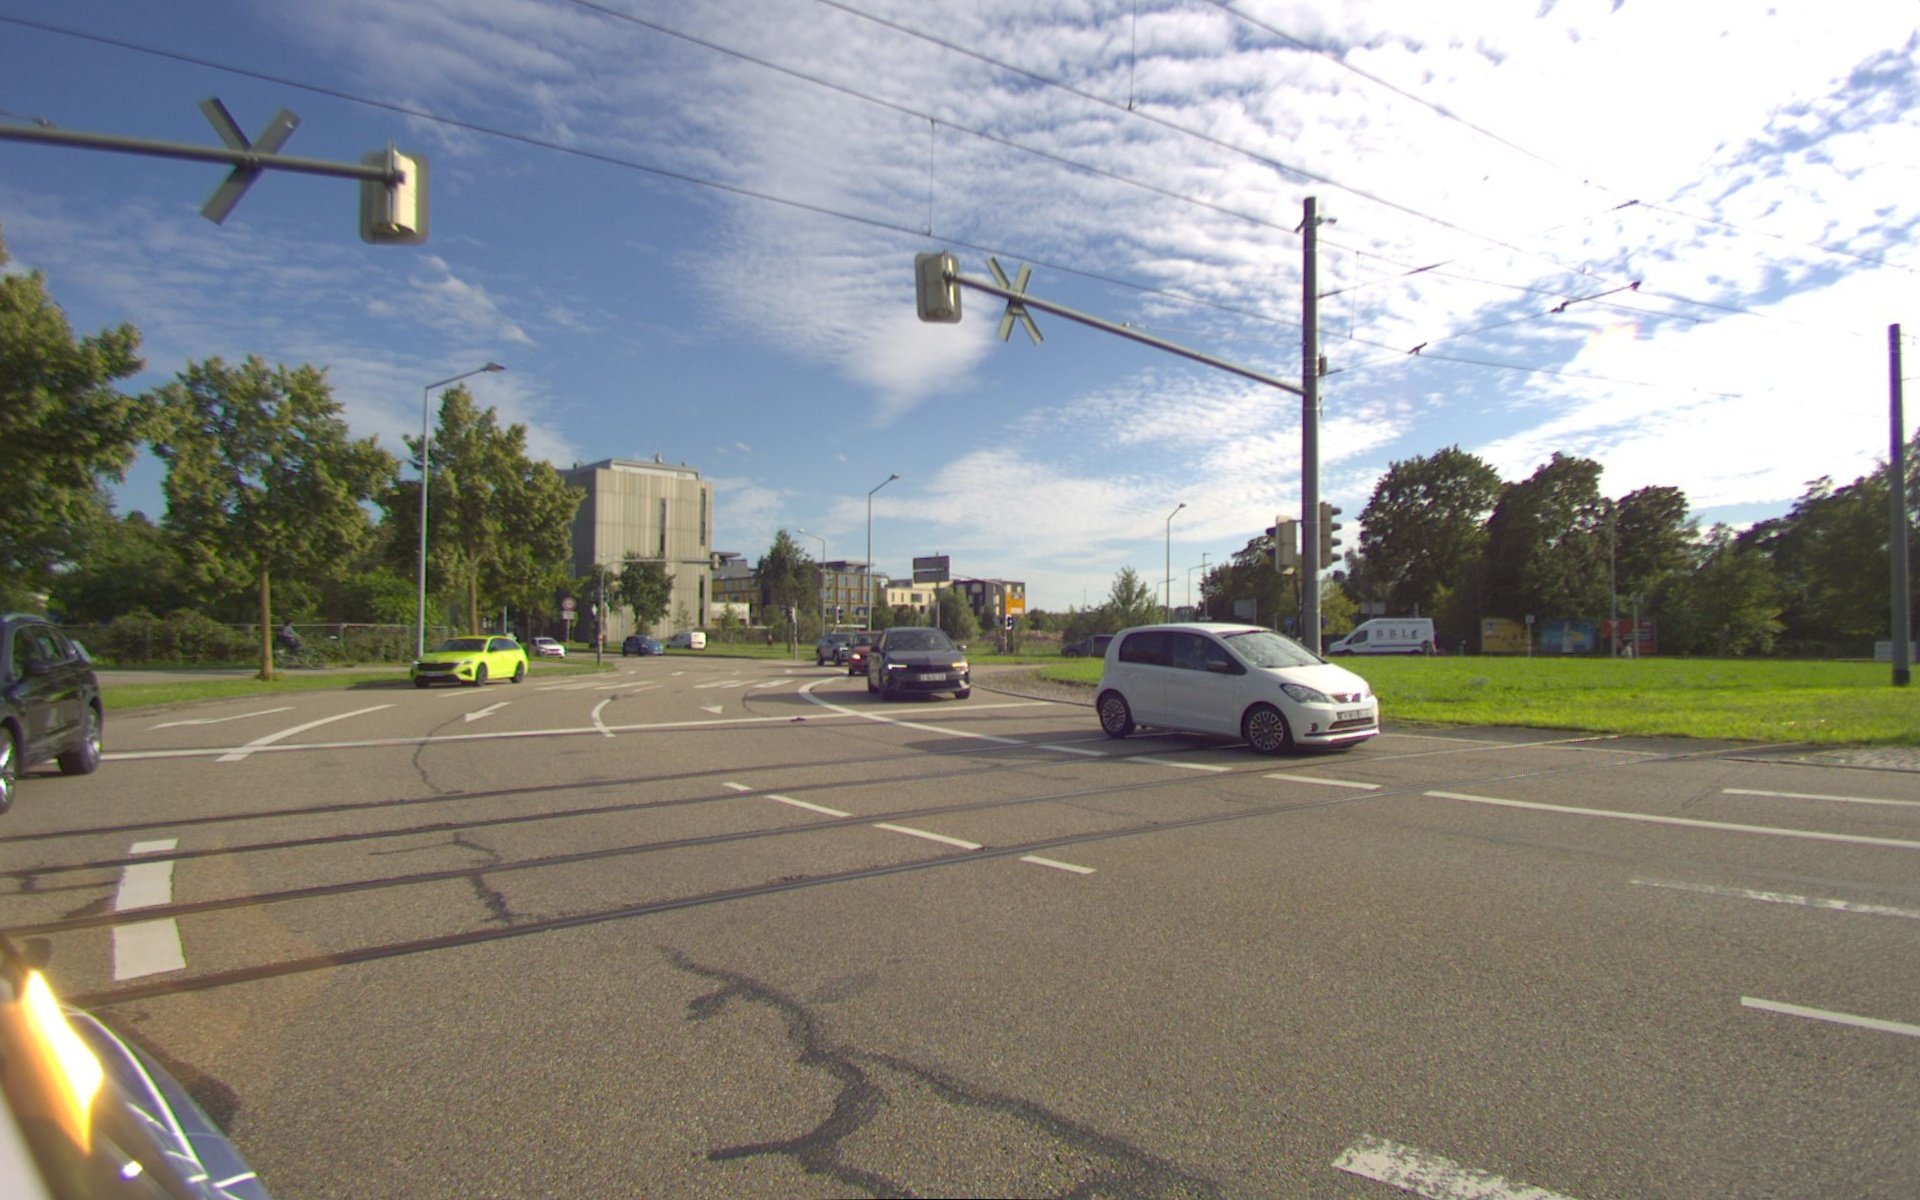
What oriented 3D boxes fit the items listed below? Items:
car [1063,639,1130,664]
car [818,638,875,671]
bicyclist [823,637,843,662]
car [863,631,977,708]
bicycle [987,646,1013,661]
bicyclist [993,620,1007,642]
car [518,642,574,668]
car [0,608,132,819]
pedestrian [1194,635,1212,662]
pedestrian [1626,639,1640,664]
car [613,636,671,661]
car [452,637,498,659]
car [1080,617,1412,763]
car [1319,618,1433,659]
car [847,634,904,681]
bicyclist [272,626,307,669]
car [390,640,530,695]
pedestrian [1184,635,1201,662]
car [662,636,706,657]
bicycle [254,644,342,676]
[{"bbox_3d":[8.675,3.267,64.284,3.964,1.513,1.674,0,-4,20],"label":"car"},{"bbox_3d":[-5.495,2.616,48.475,1.665,1.486,4.240,0,-3,-22],"label":"car"},{"bbox_3d":[-7.858,3.061,62.696,0.852,1.568,0.999,2,-3,-38],"label":"bicyclist"},{"bbox_3d":[-0.969,1.388,21.476,1.795,1.431,4.456,0,-2,-10],"label":"car"},{"bbox_3d":[2.804,3.763,71.385,1.806,0.996,0.613,1,-3,-31],"label":"bicycle"},{"bbox_3d":[2.830,2.191,71.468,0.686,1.456,0.613,4,-3,-30],"label":"bicyclist"},{"bbox_3d":[-28.594,3.781,69.826,1.969,1.674,4.808,2,-3,-42],"label":"car"},{"bbox_3d":[-9.287,0.942,9.106,1.840,1.708,5.031,1,-2,-28],"label":"car"},{"bbox_3d":[18.179,3.631,75.701,0.883,1.931,0.867,-1,-1,-42],"label":"pedestrian"},{"bbox_3d":[44.809,3.422,67.346,0.540,1.637,0.506,0,-2,-3],"label":"pedestrian"},{"bbox_3d":[-22.753,3.445,72.285,1.971,1.674,4.806,2,-3,-45],"label":"car"},{"bbox_3d":[-38.778,3.827,80.814,1.969,1.674,4.808,2,-2,-42],"label":"car"},{"bbox_3d":[3.340,0.998,12.462,1.737,1.475,3.670,0,-2,-33],"label":"car"},{"bbox_3d":[24.510,2.302,59.881,5.967,2.281,2.056,0,-4,15],"label":"car"},{"bbox_3d":[-2.813,1.941,34.376,1.671,1.486,4.227,-1,-3,-1],"label":"car"},{"bbox_3d":[-24.626,1.731,37.156,0.804,1.559,0.892,-2,-3,43],"label":"bicyclist"},{"bbox_3d":[-14.305,1.911,29.297,1.870,1.431,4.608,-1,-3,-1],"label":"car"},{"bbox_3d":[17.529,3.654,76.313,0.883,1.931,0.867,-1,-1,-42],"label":"pedestrian"},{"bbox_3d":[-25.208,4.245,92.460,4.560,1.839,1.662,-2,-5,42],"label":"car"},{"bbox_3d":[-24.406,2.190,37.353,0.804,1.134,2.564,-2,-3,43],"label":"bicycle"}]
